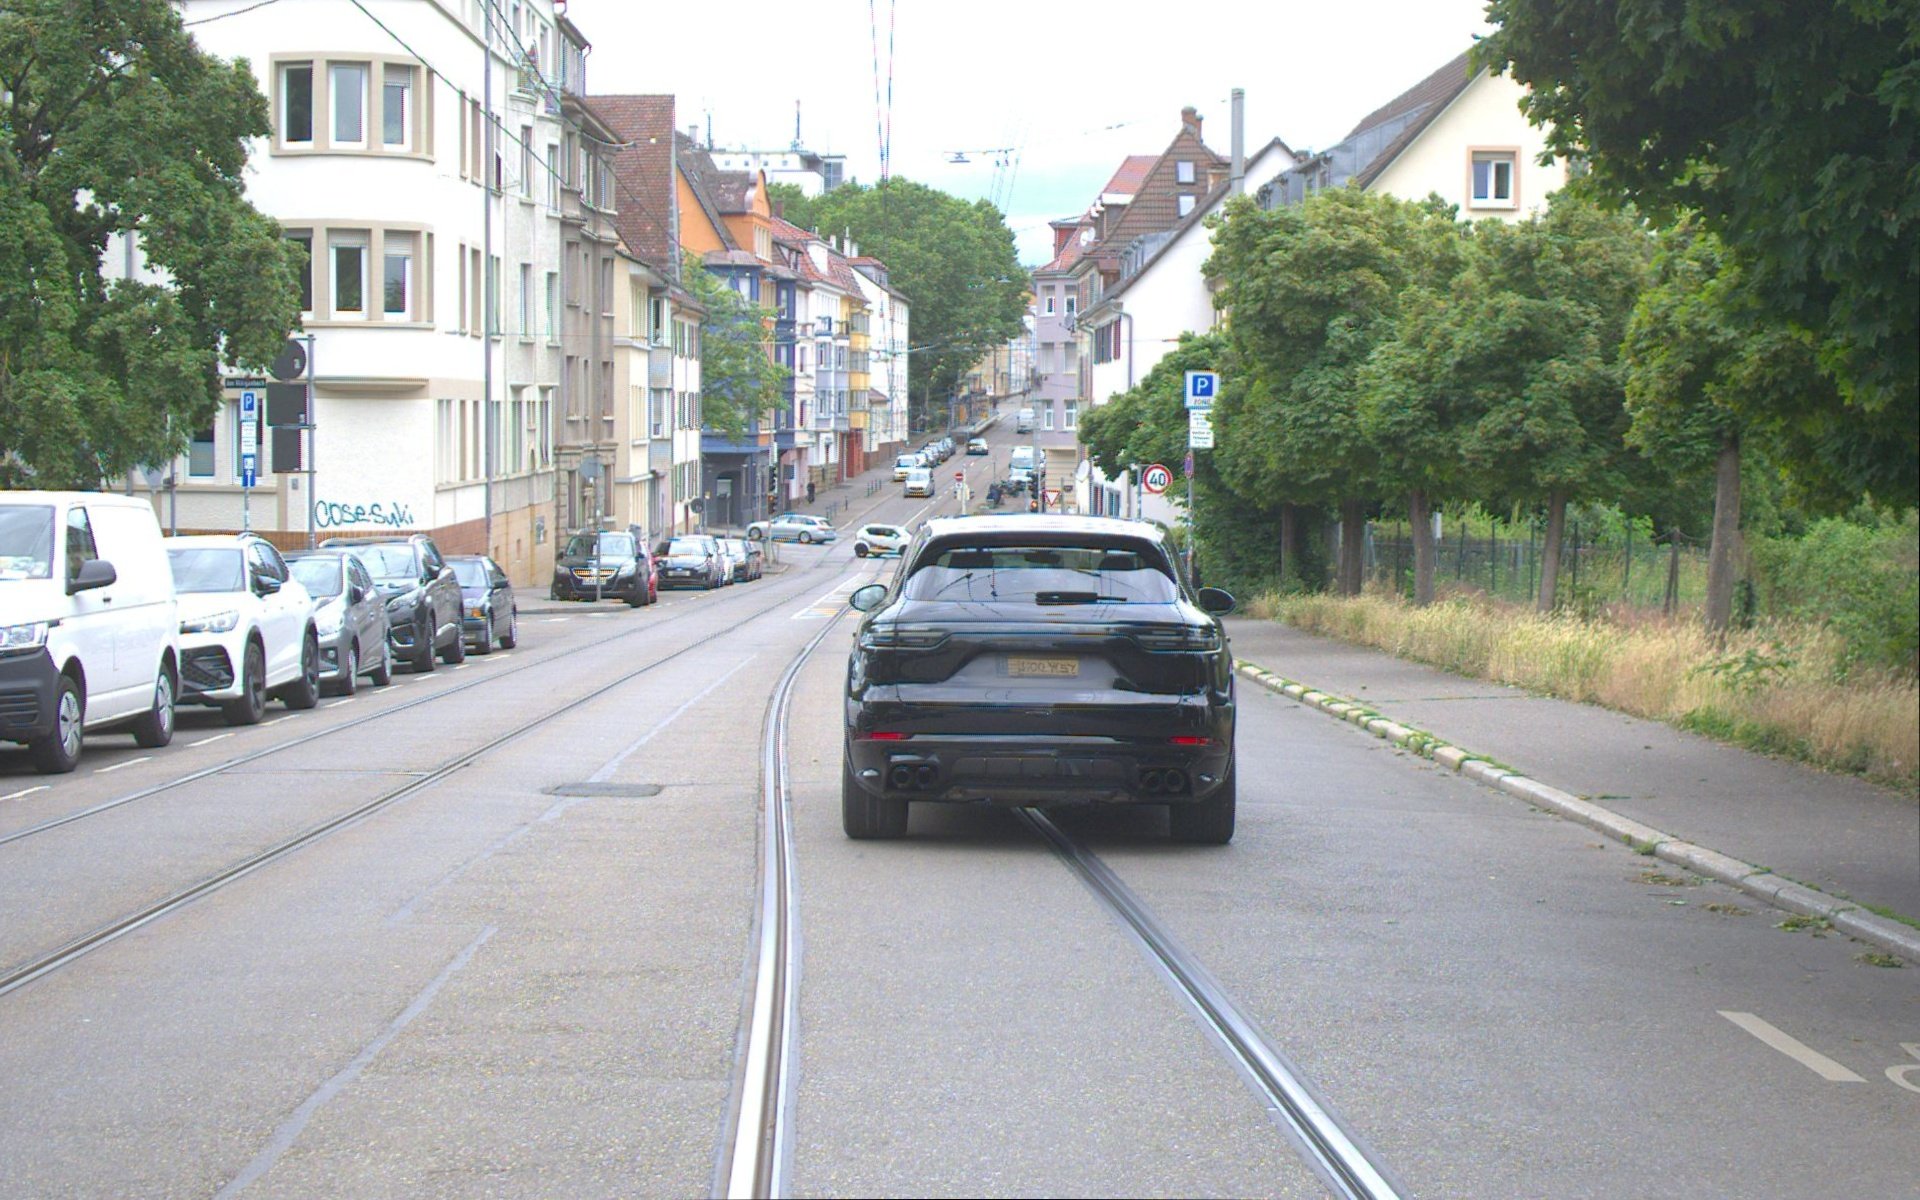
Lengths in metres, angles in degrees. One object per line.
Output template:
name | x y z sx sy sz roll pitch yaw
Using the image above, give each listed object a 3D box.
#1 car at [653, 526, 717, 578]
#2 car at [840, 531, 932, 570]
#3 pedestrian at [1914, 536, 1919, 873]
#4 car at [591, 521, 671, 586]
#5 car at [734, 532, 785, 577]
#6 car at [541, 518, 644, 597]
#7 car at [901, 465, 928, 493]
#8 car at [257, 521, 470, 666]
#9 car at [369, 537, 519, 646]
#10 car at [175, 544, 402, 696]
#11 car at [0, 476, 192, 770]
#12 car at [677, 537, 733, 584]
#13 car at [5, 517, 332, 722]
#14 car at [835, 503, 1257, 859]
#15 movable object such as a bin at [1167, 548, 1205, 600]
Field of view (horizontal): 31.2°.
car | -7.840 -1.357 98.246 1.620 1.458 4.033 0 0 -2
car | -3.479 -2.330 161.800 3.829 1.763 1.998 1 1 23
pedestrian | 4.972 0.508 16.216 0.715 1.615 0.719 1 1 0
car | -7.594 -1.064 79.596 1.620 1.458 3.746 0 0 -2
car | -6.852 -1.547 117.633 1.620 1.468 4.556 0 0 -2
car | -7.828 -0.885 73.489 1.867 1.640 4.402 0 0 -2
car | -3.053 -8.108 231.274 1.751 1.754 4.254 1 1 0
car | -7.237 -0.083 42.102 1.969 1.681 4.444 0 0 -2
car | -7.244 -0.119 48.563 1.620 1.472 4.156 0 0 -2
car | -6.983 0.194 36.104 1.738 1.504 3.869 0 0 -2
car | -6.949 0.143 24.635 1.969 1.906 4.735 0 0 -2
car | -8.083 -1.234 109.143 1.620 1.458 3.685 0 0 -2
car | -6.932 0.151 30.589 1.969 1.681 4.633 0 0 -2
car | 0.383 0.360 18.443 1.993 1.670 4.000 1 1 -1
movable object such as a bin | 5.373 -0.630 81.752 0.792 1.214 0.789 1 1 -4
